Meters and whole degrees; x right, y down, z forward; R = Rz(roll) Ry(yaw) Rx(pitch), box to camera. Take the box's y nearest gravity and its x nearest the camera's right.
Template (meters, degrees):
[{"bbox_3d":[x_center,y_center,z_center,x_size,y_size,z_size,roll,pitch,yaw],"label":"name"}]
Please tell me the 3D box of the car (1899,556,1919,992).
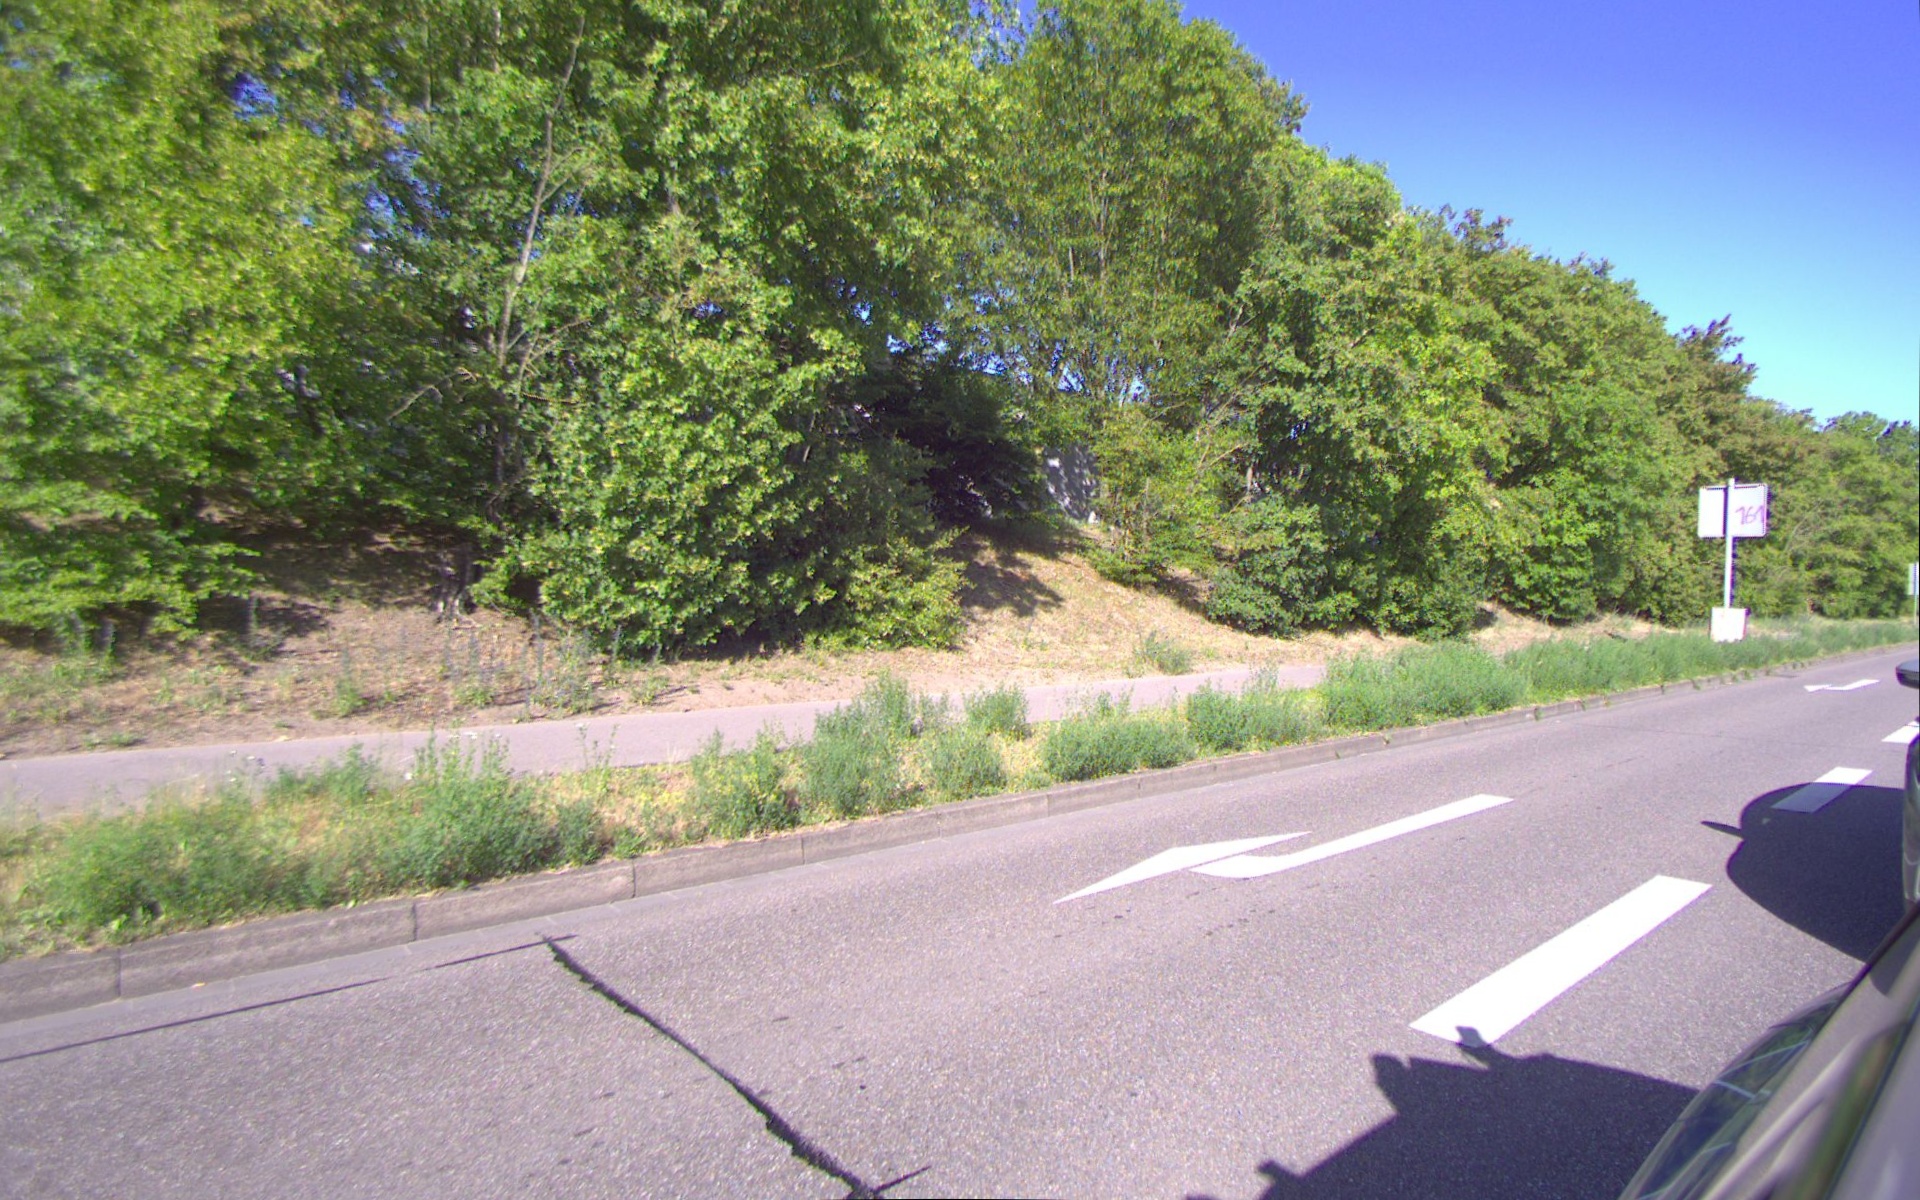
[{"bbox_3d":[5.587,0.659,4.347,3.863,1.617,1.869,0,0,-41],"label":"car"}]
